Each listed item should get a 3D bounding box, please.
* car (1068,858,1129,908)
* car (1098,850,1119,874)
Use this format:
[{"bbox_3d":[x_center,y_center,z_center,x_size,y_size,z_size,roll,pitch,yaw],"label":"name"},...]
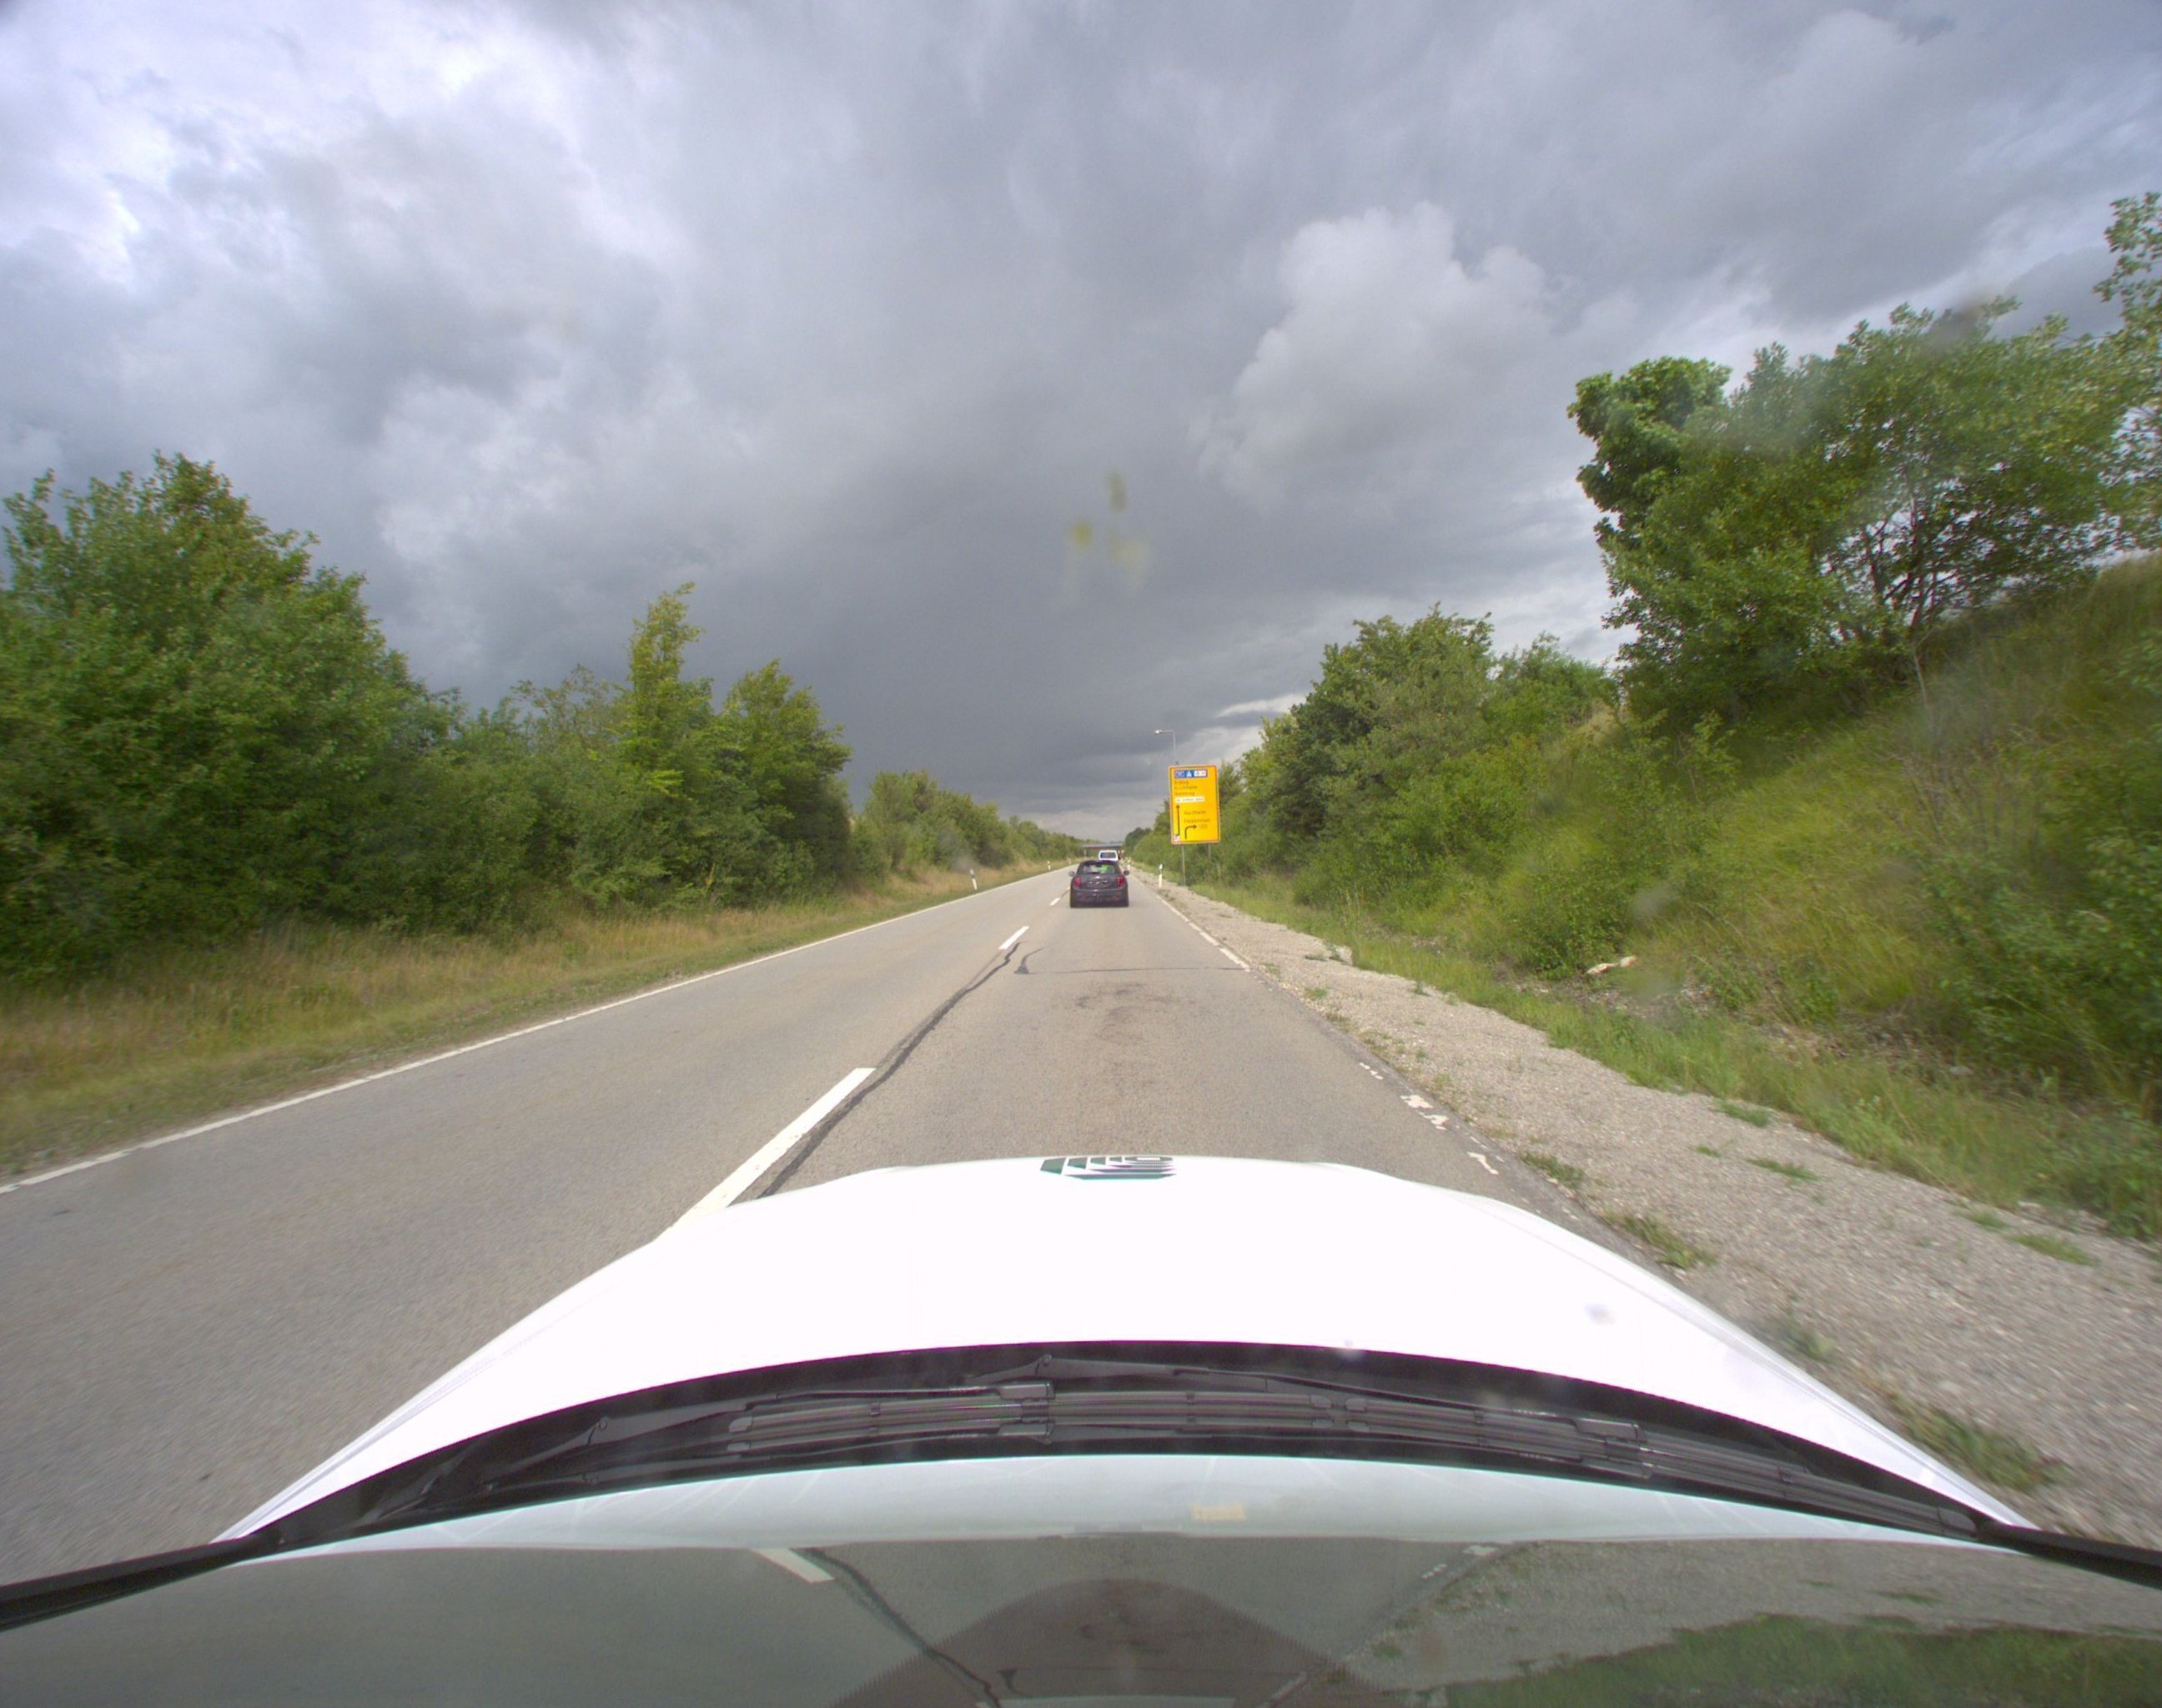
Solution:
[{"bbox_3d":[0.566,0.853,25.425,1.750,1.427,4.001,0,0,1],"label":"car"},{"bbox_3d":[2.429,0.734,72.575,1.813,2.054,4.001,0,0,1],"label":"car"}]
